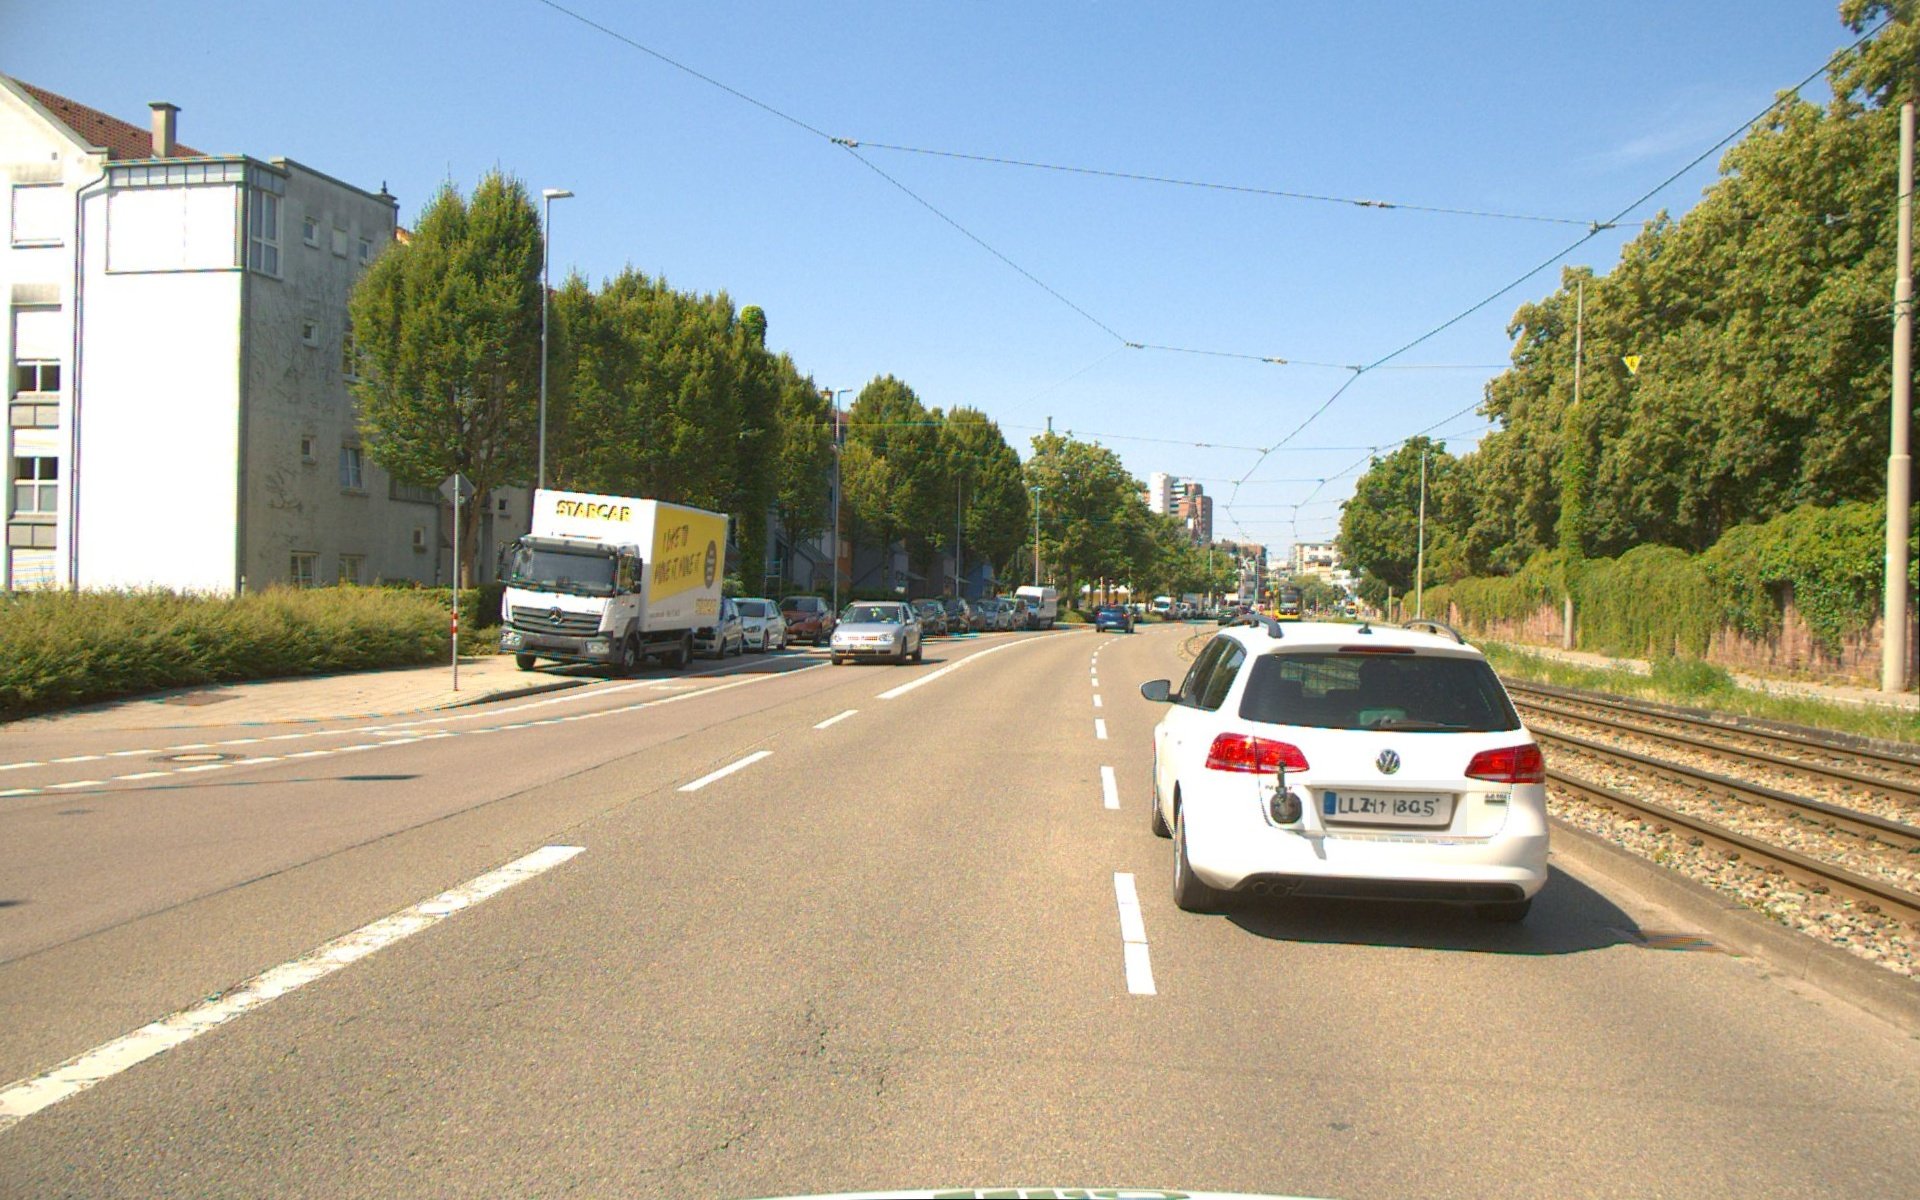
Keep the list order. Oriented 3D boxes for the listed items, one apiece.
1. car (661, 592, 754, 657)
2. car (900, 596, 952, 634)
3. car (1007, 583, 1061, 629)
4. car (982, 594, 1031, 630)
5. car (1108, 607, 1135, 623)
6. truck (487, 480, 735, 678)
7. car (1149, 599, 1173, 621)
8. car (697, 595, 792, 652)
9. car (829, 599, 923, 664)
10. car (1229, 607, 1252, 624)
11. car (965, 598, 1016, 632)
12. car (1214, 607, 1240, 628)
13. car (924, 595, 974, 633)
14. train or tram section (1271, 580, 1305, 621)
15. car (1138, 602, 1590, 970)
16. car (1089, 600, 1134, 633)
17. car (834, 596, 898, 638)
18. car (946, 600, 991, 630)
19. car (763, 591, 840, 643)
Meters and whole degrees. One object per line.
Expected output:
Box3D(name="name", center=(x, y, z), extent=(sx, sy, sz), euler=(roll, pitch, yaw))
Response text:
Box3D(name="car", center=(-6.426, 0.596, 42.474), extent=(1.576, 1.509, 3.637), euler=(3, 0, 3))
Box3D(name="car", center=(-1.585, 0.705, 78.514), extent=(1.680, 1.653, 4.316), euler=(3, 0, 9))
Box3D(name="car", center=(4.879, 0.418, 108.083), extent=(1.953, 2.761, 7.162), euler=(4, 0, 14))
Box3D(name="car", center=(2.845, 0.751, 99.921), extent=(1.879, 1.982, 5.358), euler=(4, 0, 13))
Box3D(name="car", center=(14.686, 1.354, 150.199), extent=(1.664, 1.376, 4.002), euler=(1, 0, 16))
Box3D(name="truck", center=(-7.141, -0.403, 35.293), extent=(2.611, 3.591, 8.595), euler=(3, 0, 5))
Box3D(name="car", center=(22.338, 1.128, 183.618), extent=(1.840, 2.458, 5.119), euler=(1, 0, 16))
Box3D(name="car", center=(-6.057, 0.634, 46.933), extent=(1.720, 1.454, 4.284), euler=(3, 0, 5))
Box3D(name="car", center=(-1.944, 0.711, 39.449), extent=(1.624, 1.445, 4.312), euler=(-1, 0, 5))
Box3D(name="car", center=(24.931, 1.343, 147.001), extent=(1.762, 1.486, 4.003), euler=(1, 0, 12))
Box3D(name="car", center=(1.771, 0.841, 94.362), extent=(1.763, 1.754, 4.913), euler=(4, 0, 14))
Box3D(name="car", center=(21.550, 1.398, 133.265), extent=(1.762, 1.533, 4.003), euler=(2, 0, 12))
Box3D(name="car", center=(-0.531, 0.686, 83.962), extent=(1.732, 1.753, 4.874), euler=(3, 0, 8))
Box3D(name="train or tram section", center=(32.497, 0.067, 163.493), extent=(2.458, 3.812, 13.320), euler=(1, 0, 15))
Box3D(name="car", center=(1.999, 0.812, 9.456), extent=(1.656, 1.476, 4.460), euler=(2, 1, 3))
Box3D(name="car", center=(7.853, 0.847, 85.452), extent=(1.762, 1.533, 4.004), euler=(2, 1, 12))
Box3D(name="car", center=(-3.723, 0.680, 66.302), extent=(1.743, 1.509, 4.860), euler=(3, 0, 6))
Box3D(name="car", center=(0.476, 0.799, 89.356), extent=(1.654, 1.500, 4.052), euler=(4, 0, 11))
Box3D(name="car", center=(-5.255, 0.551, 55.339), extent=(1.694, 1.579, 4.321), euler=(2, 0, 6))
